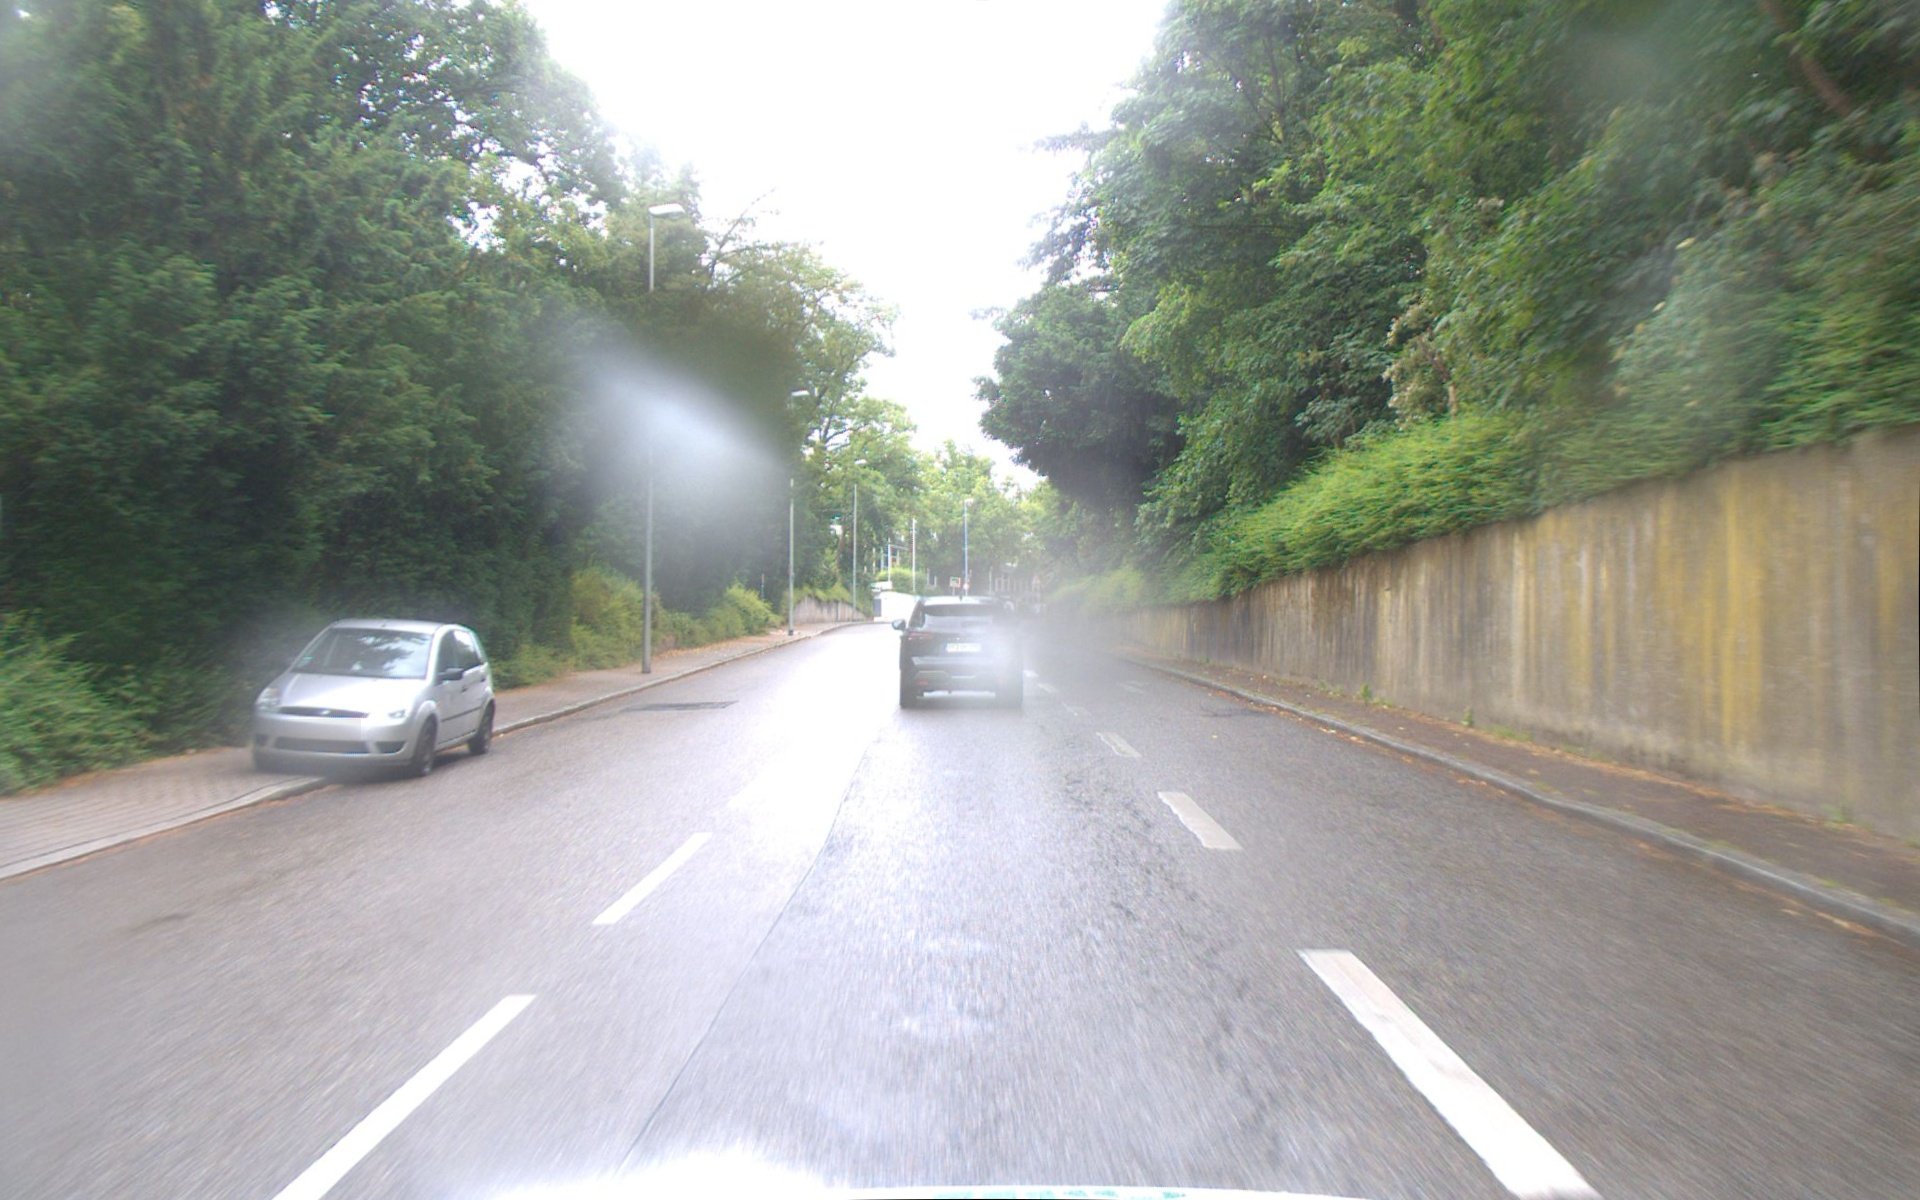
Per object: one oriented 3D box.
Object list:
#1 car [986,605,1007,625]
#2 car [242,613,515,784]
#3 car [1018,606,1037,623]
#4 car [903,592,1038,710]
[{"bbox_3d":[3.173,1.326,145.275,1.793,1.741,4.000,0,0,1],"label":"car"},{"bbox_3d":[-5.908,0.926,17.274,1.593,1.525,3.926,1,0,-3],"label":"car"},{"bbox_3d":[6.317,1.329,154.578,1.640,1.522,3.461,0,0,3],"label":"car"},{"bbox_3d":[0.121,0.716,25.190,1.889,1.641,3.999,0,0,-1],"label":"car"}]
